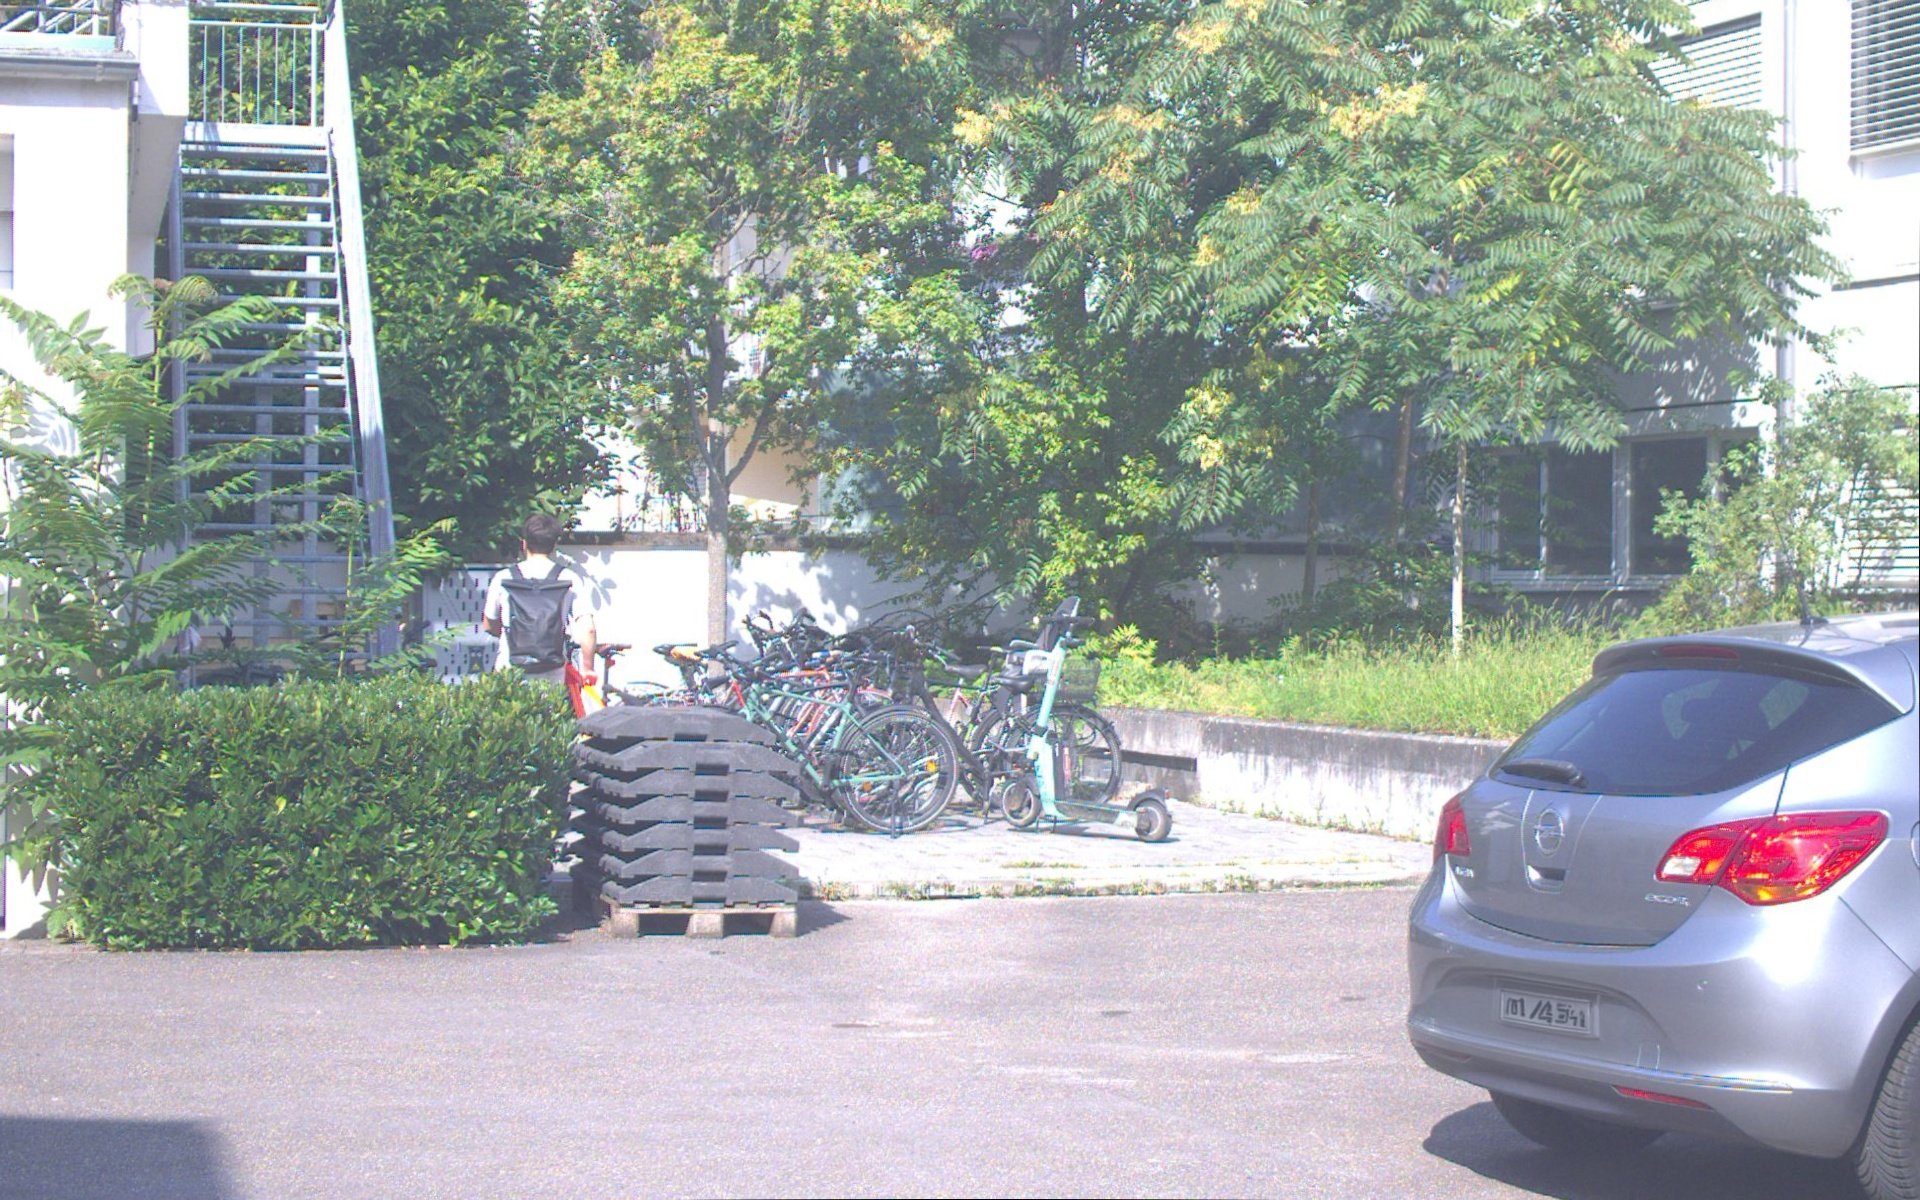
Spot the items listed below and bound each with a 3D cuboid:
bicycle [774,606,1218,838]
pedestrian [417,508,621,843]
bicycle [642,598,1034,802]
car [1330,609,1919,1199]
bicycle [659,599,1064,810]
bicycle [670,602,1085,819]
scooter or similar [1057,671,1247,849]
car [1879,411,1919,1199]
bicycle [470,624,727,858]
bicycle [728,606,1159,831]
[{"bbox_3d":[0.205,0.686,19.293,2.410,1.242,0.526,1,0,-14],"label":"bicycle"},{"bbox_3d":[-2.384,0.400,18.585,0.858,1.766,0.611,1,0,-37],"label":"pedestrian"},{"bbox_3d":[-0.776,0.638,21.936,2.410,1.242,0.526,1,0,-14],"label":"bicycle"},{"bbox_3d":[3.065,0.769,8.979,3.896,1.461,1.663,0,1,-28],"label":"car"},{"bbox_3d":[-0.607,0.649,21.241,2.410,1.242,0.526,1,0,-14],"label":"bicycle"},{"bbox_3d":[-0.494,0.668,20.688,2.410,1.242,0.526,1,0,-14],"label":"bicycle"},{"bbox_3d":[1.056,0.872,18.965,0.998,0.921,0.359,2,0,38],"label":"scooter or similar"},{"bbox_3d":[4.046,0.607,6.265,4.334,1.852,1.915,0,1,-24],"label":"car"},{"bbox_3d":[-1.974,0.728,18.543,0.488,1.140,1.993,-1,1,-34],"label":"bicycle"},{"bbox_3d":[-0.094,0.690,19.913,2.410,1.242,0.526,1,0,-14],"label":"bicycle"}]
